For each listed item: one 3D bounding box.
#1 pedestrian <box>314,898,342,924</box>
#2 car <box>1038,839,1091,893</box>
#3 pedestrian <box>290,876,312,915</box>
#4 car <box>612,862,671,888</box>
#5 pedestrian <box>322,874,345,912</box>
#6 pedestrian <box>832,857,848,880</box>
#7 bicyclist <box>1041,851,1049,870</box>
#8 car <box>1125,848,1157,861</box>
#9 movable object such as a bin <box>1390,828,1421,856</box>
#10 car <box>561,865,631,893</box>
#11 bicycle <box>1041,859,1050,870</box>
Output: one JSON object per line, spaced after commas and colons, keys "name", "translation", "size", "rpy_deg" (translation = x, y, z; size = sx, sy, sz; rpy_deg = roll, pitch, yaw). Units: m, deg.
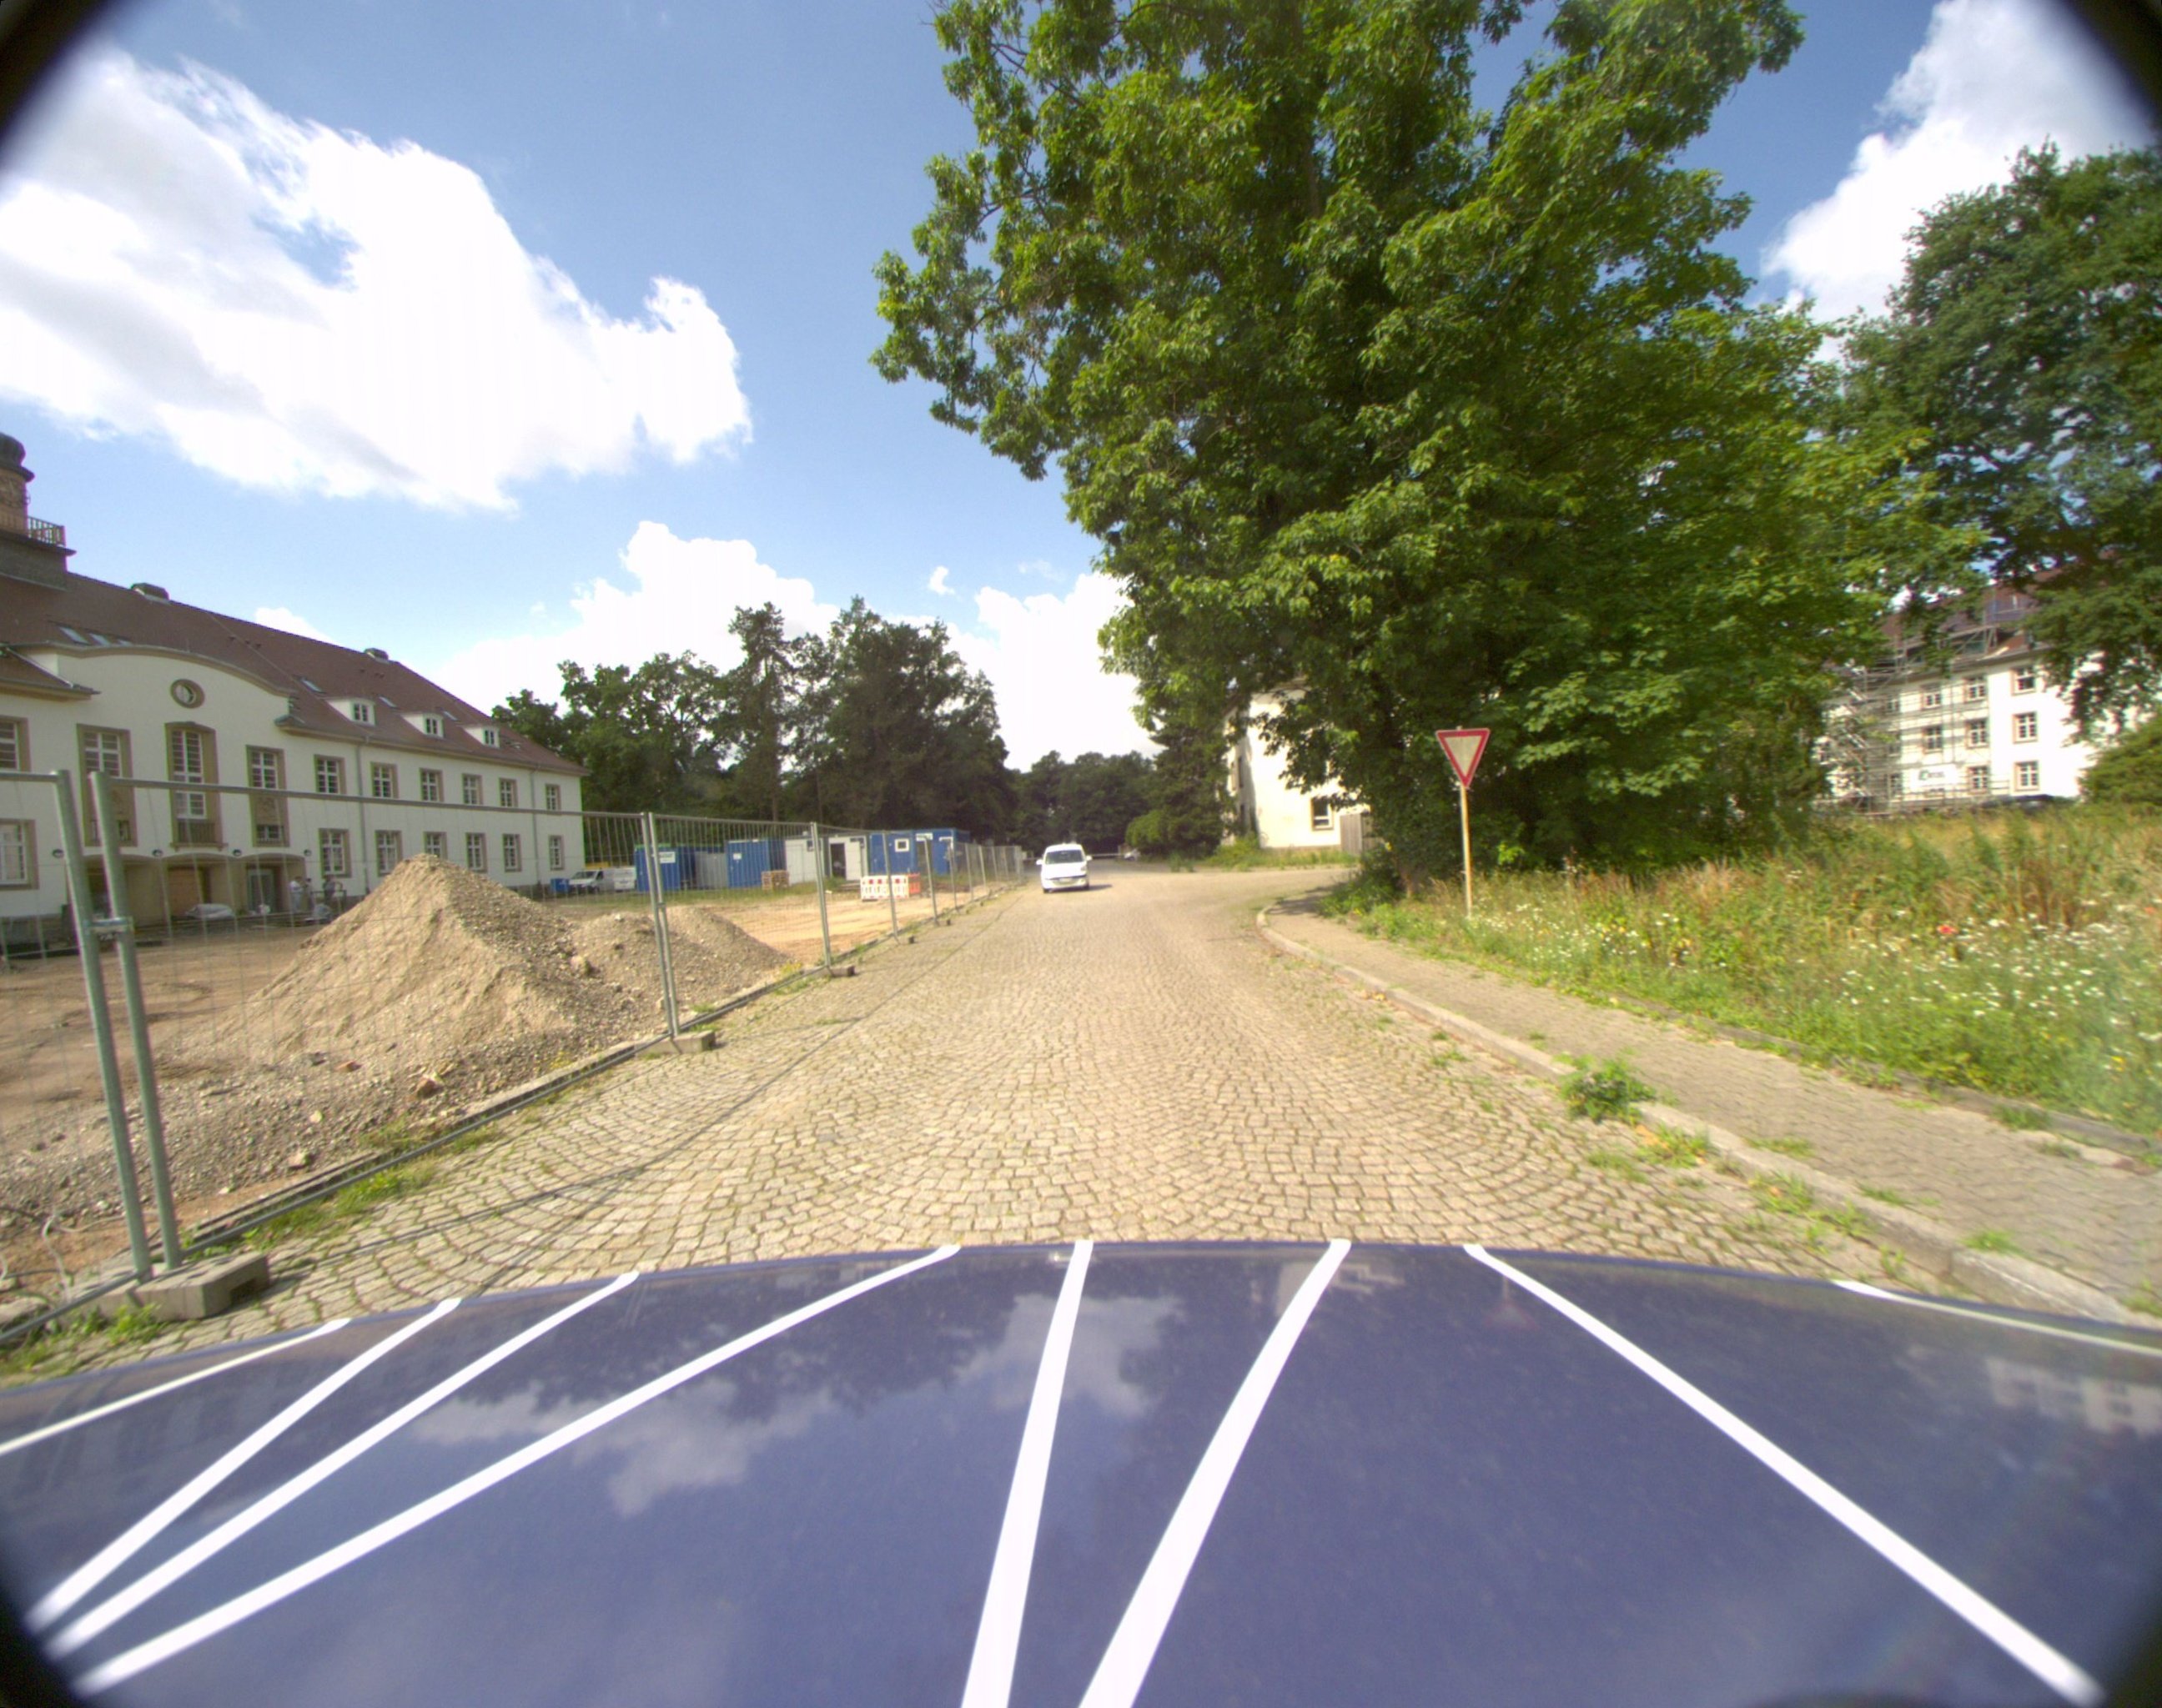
{"name": "pedestrian", "translation": [-35.249, 2.665, 35.570], "size": [0.491, 1.108, 0.709], "rpy_deg": [-3, 1, -1]}
{"name": "car", "translation": [-0.682, 0.464, 30.277], "size": [1.839, 1.857, 4.830], "rpy_deg": [-3, 0, -2]}
{"name": "pedestrian", "translation": [-36.637, 1.935, 35.691], "size": [0.490, 1.777, 0.507], "rpy_deg": [-3, 1, 23]}
{"name": "car", "translation": [-31.877, 1.511, 55.242], "size": [1.802, 1.674, 4.039], "rpy_deg": [-3, 1, 2]}
{"name": "pedestrian", "translation": [-36.524, 1.909, 37.147], "size": [0.491, 1.777, 0.506], "rpy_deg": [-3, 1, -2]}
{"name": "pedestrian", "translation": [-13.910, 0.840, 43.863], "size": [0.602, 1.236, 0.682], "rpy_deg": [-3, 1, -1]}
{"name": "bicyclist", "translation": [-3.289, 0.593, 70.006], "size": [0.634, 1.760, 0.571], "rpy_deg": [-3, 1, -1]}
{"name": "car", "translation": [8.093, 0.060, 102.808], "size": [4.084, 1.634, 1.767], "rpy_deg": [-3, 1, 0]}
{"name": "movable object such as a bin", "translation": [18.371, -0.679, 43.073], "size": [1.172, 1.522, 1.152], "rpy_deg": [-3, 1, -2]}
{"name": "car", "translation": [-35.045, 1.779, 55.063], "size": [1.884, 1.718, 4.707], "rpy_deg": [-3, 1, 2]}
{"name": "bicycle", "translation": [-3.267, 0.966, 70.034], "size": [0.634, 0.990, 1.557], "rpy_deg": [-3, 1, -1]}
